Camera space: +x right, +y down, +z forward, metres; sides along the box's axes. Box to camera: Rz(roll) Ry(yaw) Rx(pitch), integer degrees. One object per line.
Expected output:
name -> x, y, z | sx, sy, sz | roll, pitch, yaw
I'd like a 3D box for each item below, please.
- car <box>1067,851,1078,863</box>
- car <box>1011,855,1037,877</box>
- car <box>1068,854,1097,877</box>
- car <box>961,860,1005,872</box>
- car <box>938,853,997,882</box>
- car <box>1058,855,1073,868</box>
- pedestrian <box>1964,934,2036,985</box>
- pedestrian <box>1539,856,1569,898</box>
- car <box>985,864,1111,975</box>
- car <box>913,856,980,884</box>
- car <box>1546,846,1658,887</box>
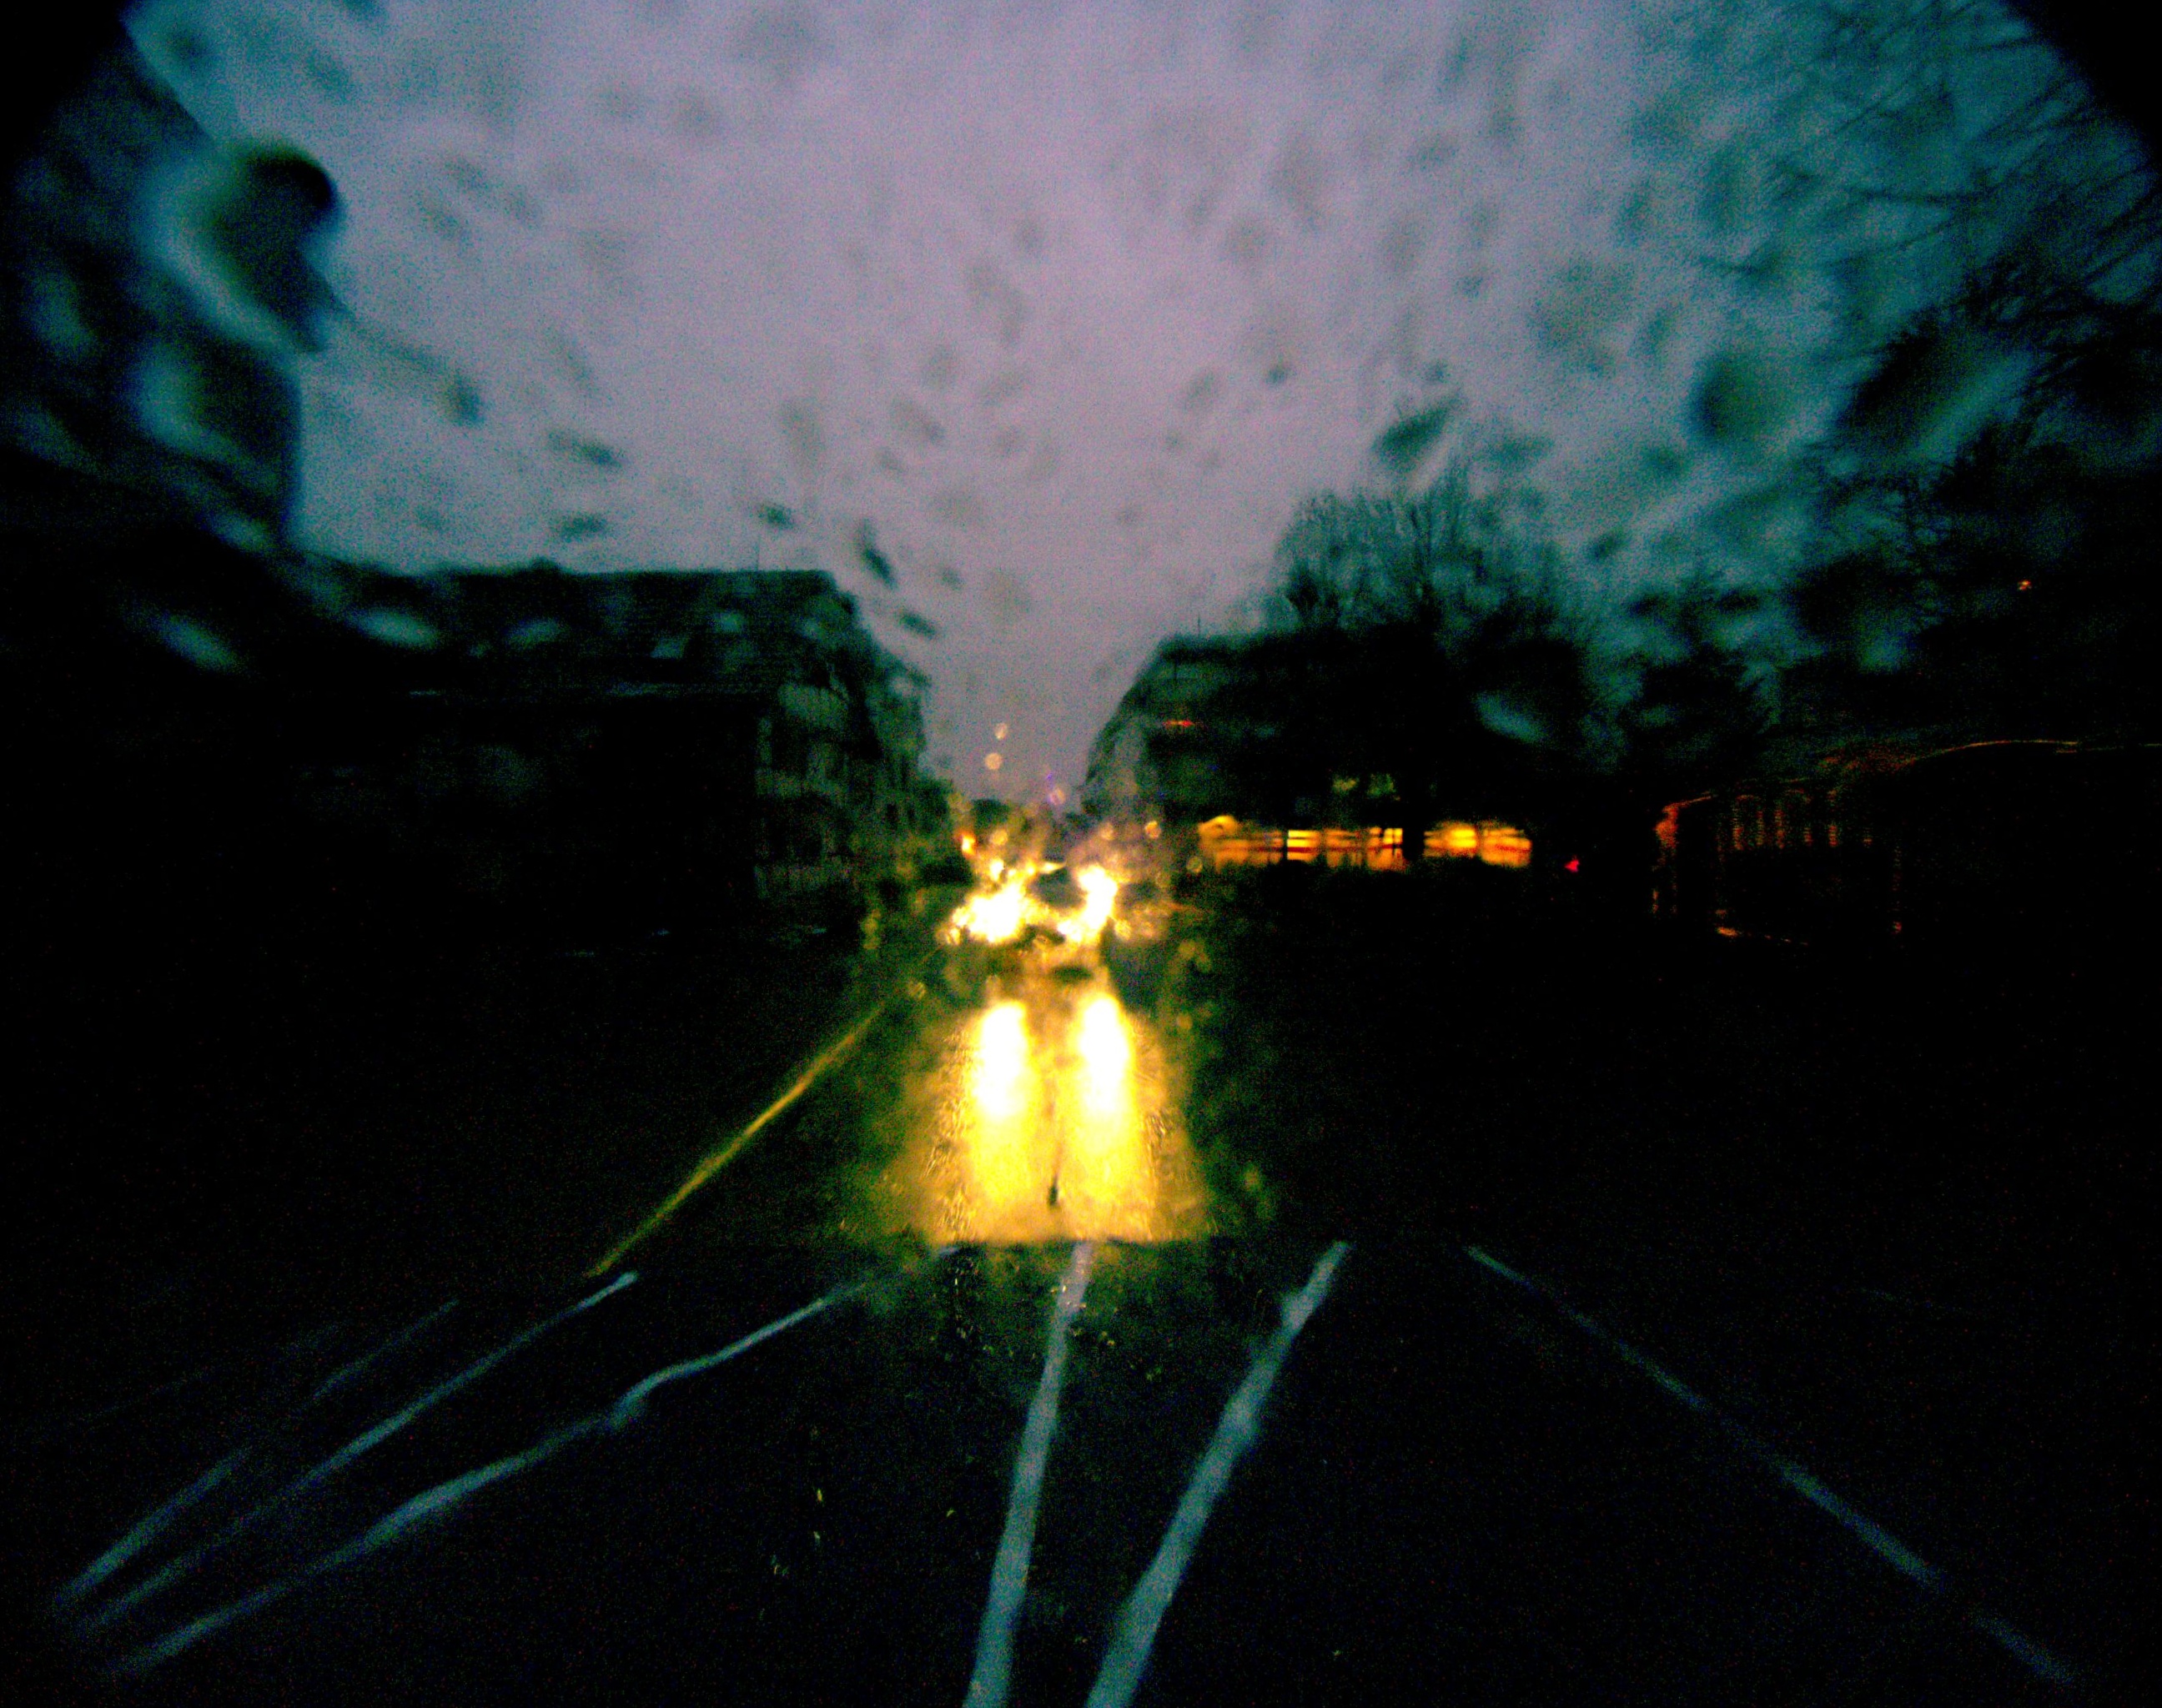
car -> -1.500, 0.501, 129.353 | 1.837, 2.002, 3.699 | -1, 0, -1
car -> -4.564, 0.931, 60.486 | 1.924, 1.608, 3.866 | -1, 0, -7
car -> 0.070, 0.851, 57.281 | 1.900, 1.607, 3.825 | -1, 0, -4
car -> -9.010, 1.121, 70.054 | 3.889, 1.120, 1.550 | 0, 0, -5
car -> -7.705, 0.902, 51.408 | 3.891, 1.866, 1.867 | 0, 0, -10
car -> -2.159, 1.046, 107.438 | 1.837, 1.703, 3.701 | -1, 0, 3
pedestrian -> 9.638, 1.101, 7.974 | 0.295, 0.482, 0.361 | 1, 1, 1
pedestrian -> 15.424, 0.752, 24.775 | 0.620, 1.331, 0.568 | -1, 0, 8
car -> -0.503, 0.946, 12.516 | 1.731, 1.475, 3.603 | -2, 0, -1
car -> -8.095, 0.982, 45.907 | 3.854, 1.618, 1.610 | 1, 0, -9
car -> 20.573, 0.485, 30.094 | 3.306, 1.498, 1.503 | -1, 0, 8
